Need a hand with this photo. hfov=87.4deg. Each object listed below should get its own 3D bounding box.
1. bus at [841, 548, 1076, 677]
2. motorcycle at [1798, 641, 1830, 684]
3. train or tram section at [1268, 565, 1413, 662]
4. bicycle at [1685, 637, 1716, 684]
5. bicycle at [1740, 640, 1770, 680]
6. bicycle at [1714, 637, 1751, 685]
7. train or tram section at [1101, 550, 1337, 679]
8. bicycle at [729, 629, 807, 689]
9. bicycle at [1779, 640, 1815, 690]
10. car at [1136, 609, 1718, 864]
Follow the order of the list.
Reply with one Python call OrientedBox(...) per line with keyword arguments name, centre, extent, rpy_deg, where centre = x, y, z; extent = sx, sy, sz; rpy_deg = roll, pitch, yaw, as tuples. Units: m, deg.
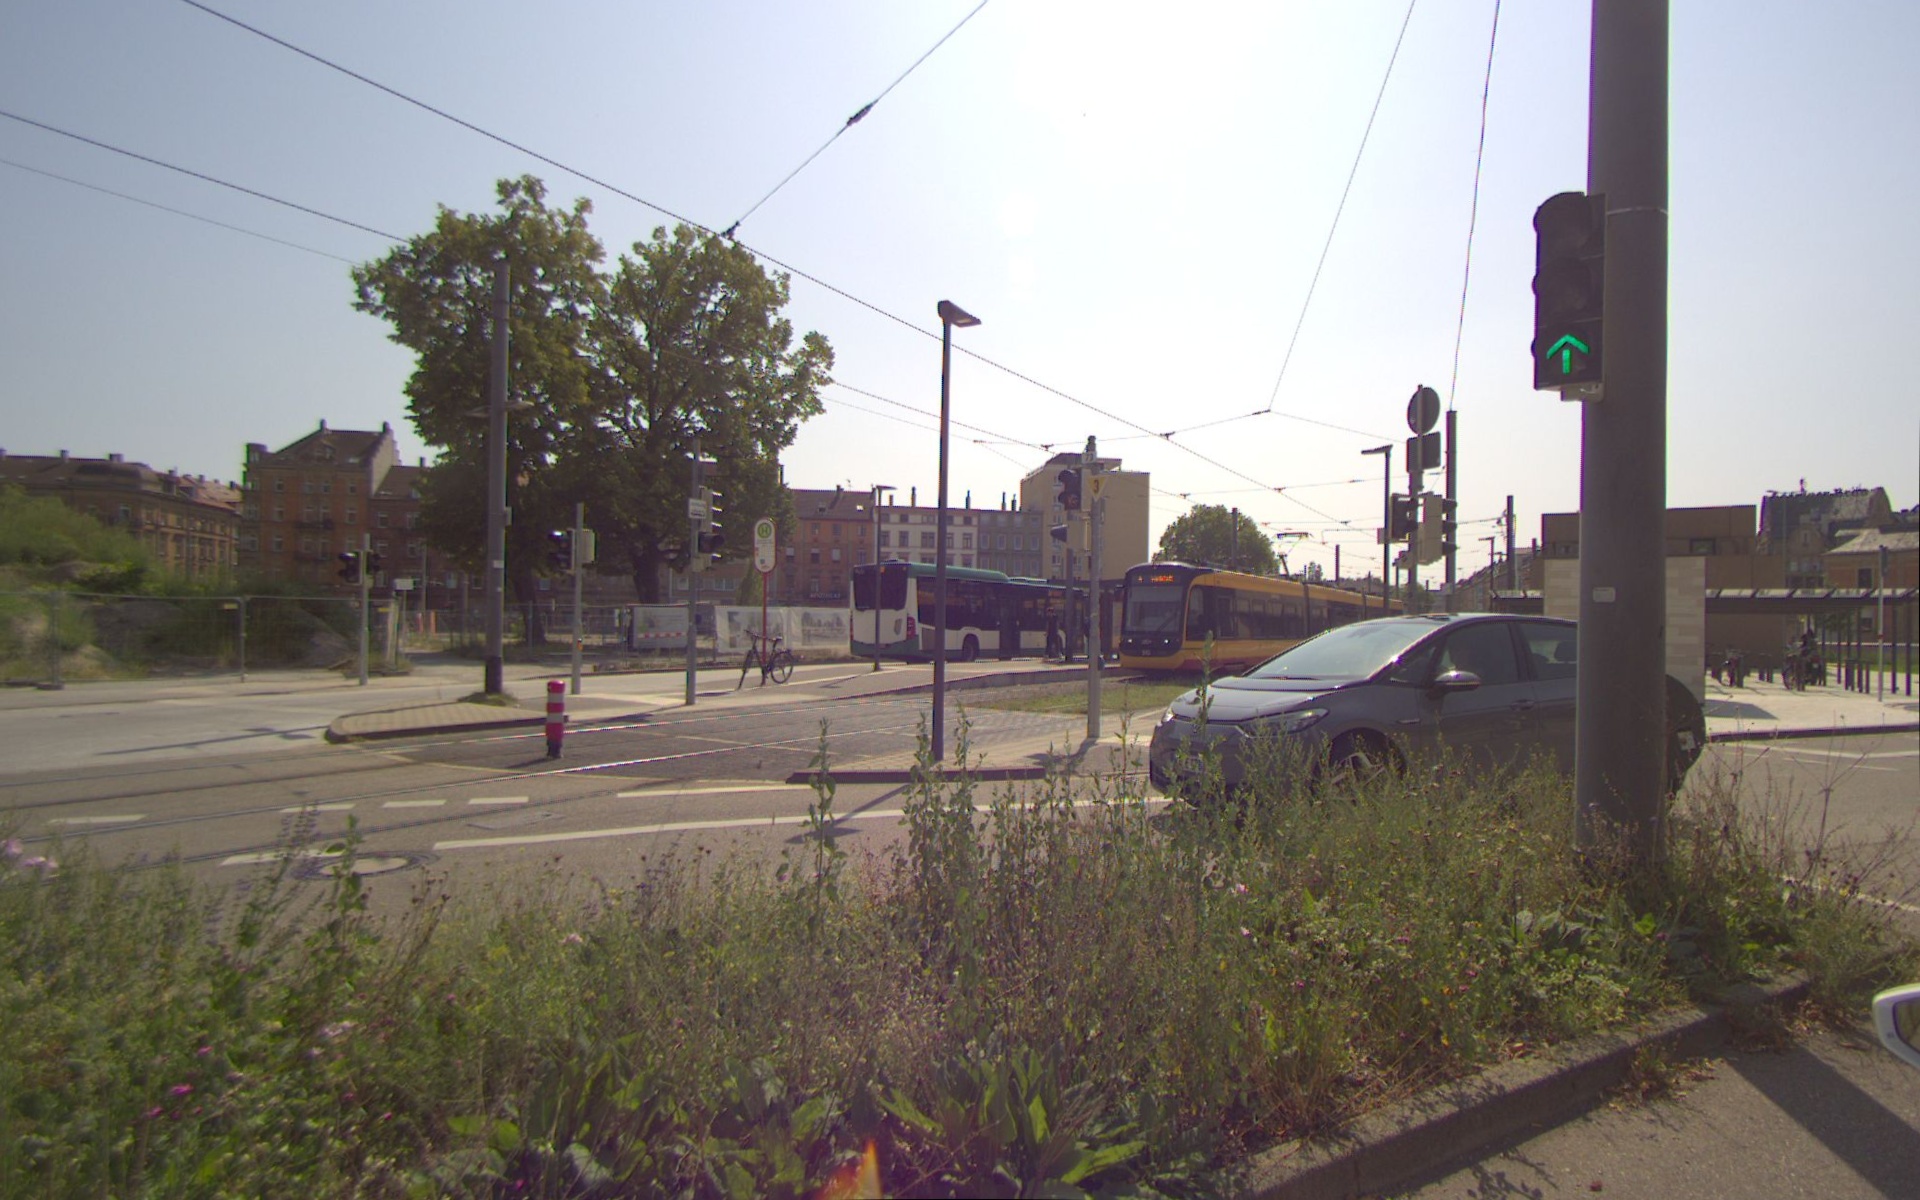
OrientedBox(name="bus", centre=(0.386, 0.497, 35.000), extent=(2.916, 3.824, 10.571), rpy_deg=(1, -1, 32))
OrientedBox(name="motorcycle", centre=(25.415, 1.832, 29.879), extent=(0.597, 1.226, 2.240), rpy_deg=(0, -2, 44))
OrientedBox(name="train or tram section", centre=(20.094, 0.850, 51.610), extent=(2.846, 4.121, 19.089), rpy_deg=(1, -1, 33))
OrientedBox(name="bicycle", centre=(20.128, 1.617, 27.283), extent=(0.533, 1.226, 1.605), rpy_deg=(0, -1, 42))
OrientedBox(name="bicycle", centre=(25.577, 1.899, 32.299), extent=(0.597, 1.226, 1.799), rpy_deg=(0, -2, 44))
OrientedBox(name="bicycle", centre=(20.653, 1.621, 26.846), extent=(0.597, 1.226, 1.799), rpy_deg=(0, -2, 44))
OrientedBox(name="train or tram section", centre=(10.092, 0.643, 36.061), extent=(2.816, 3.595, 17.698), rpy_deg=(1, -1, 33))
OrientedBox(name="bicycle", centre=(-4.170, 1.264, 21.937), extent=(0.599, 1.239, 1.699), rpy_deg=(0, -1, 37))
OrientedBox(name="bicycle", centre=(21.600, 1.660, 25.922), extent=(0.597, 1.226, 1.799), rpy_deg=(0, -2, 44))
OrientedBox(name="car", centre=(3.571, 0.887, 7.694), extent=(4.121, 1.550, 1.693), rpy_deg=(1, -1, -22))
